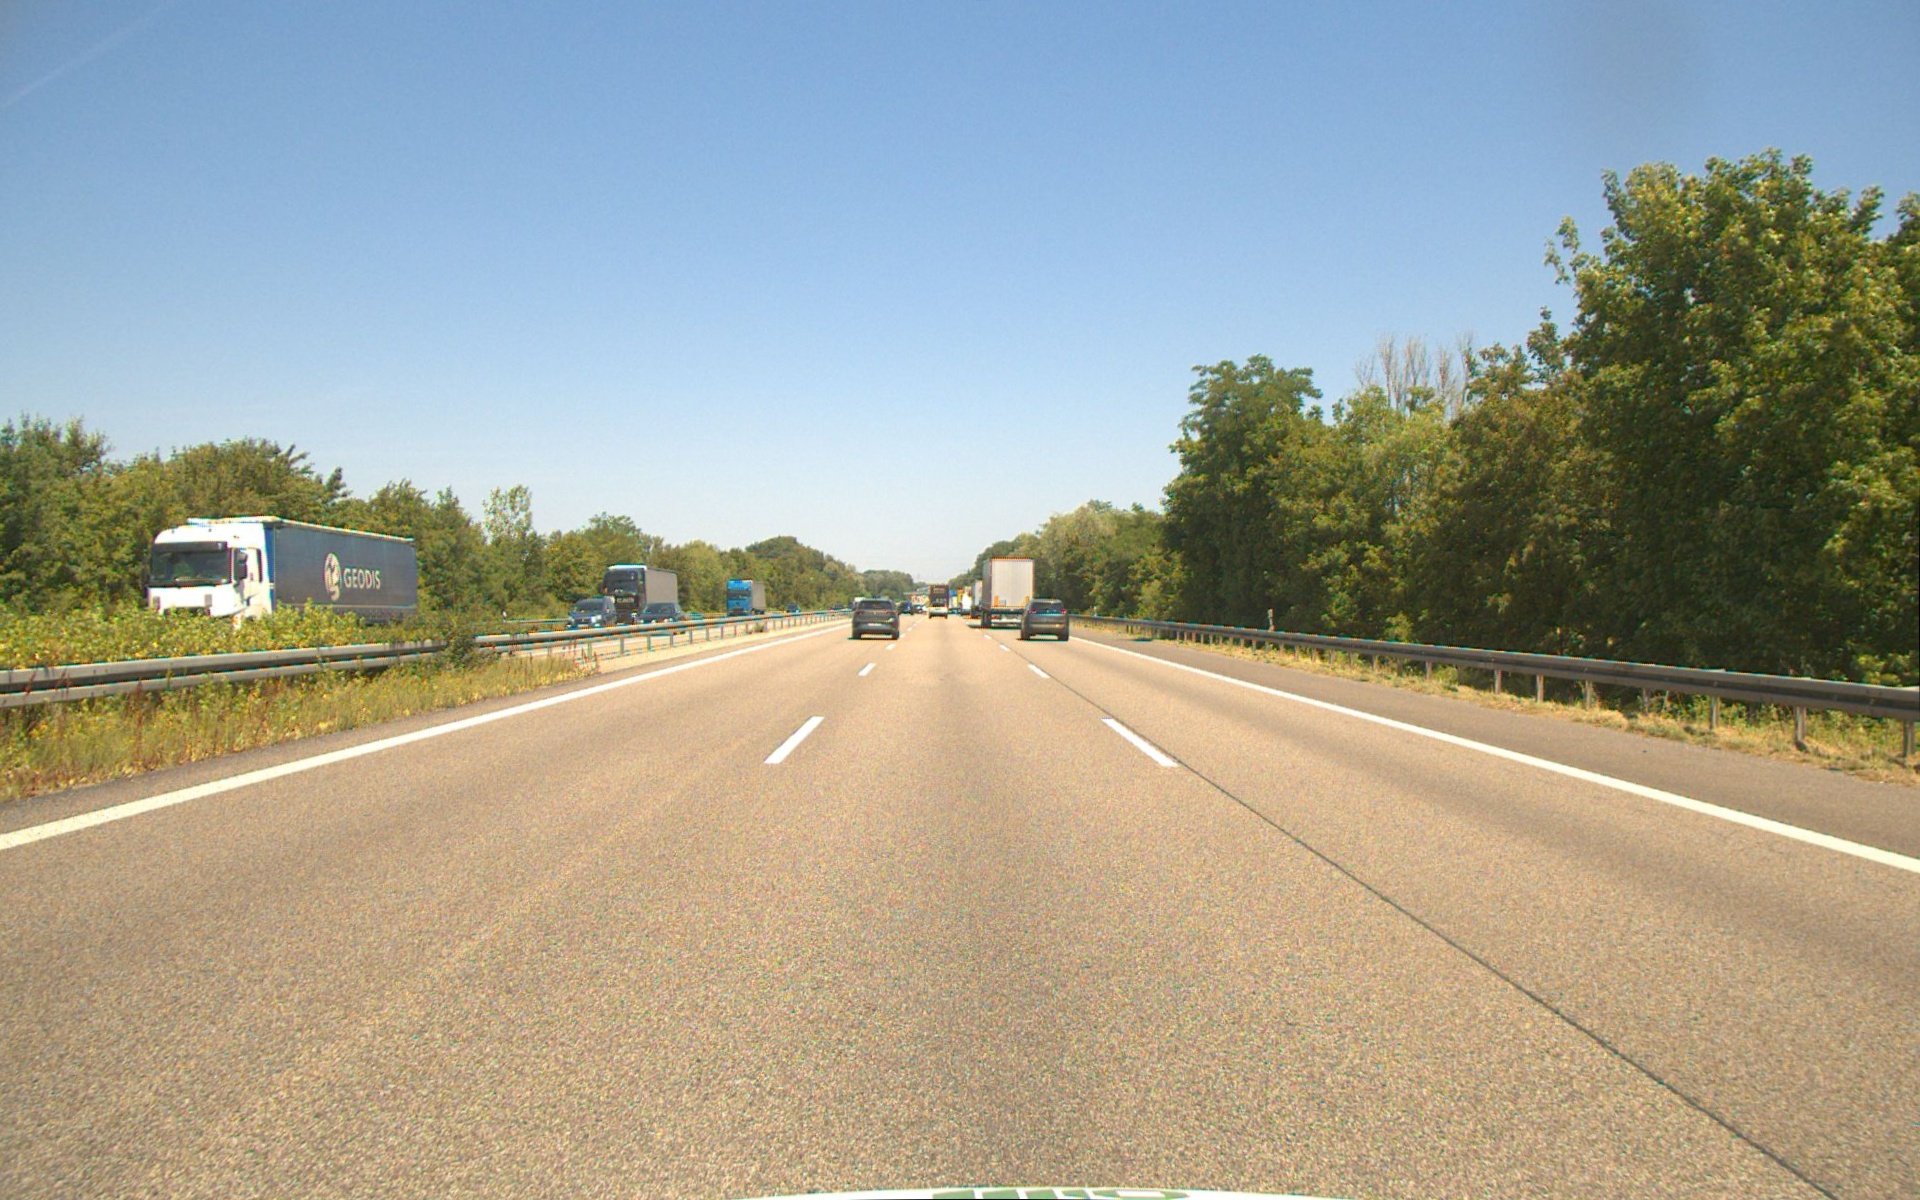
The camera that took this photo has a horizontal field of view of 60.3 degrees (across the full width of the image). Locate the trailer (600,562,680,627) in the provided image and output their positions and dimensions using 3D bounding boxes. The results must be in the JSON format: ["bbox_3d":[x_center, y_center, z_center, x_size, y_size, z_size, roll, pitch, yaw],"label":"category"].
[{"bbox_3d":[-22.351,-0.413,116.317,3.281,4.259,13.538,-1,0,-1],"label":"trailer"}]

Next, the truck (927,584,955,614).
[{"bbox_3d":[-2.542,-0.160,223.375,3.592,3.791,7.108,1,0,0],"label":"truck"}]

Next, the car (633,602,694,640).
[{"bbox_3d":[-13.006,0.910,72.852,1.715,1.509,4.726,-4,0,0],"label":"car"}]

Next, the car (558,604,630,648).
[{"bbox_3d":[-17.805,1.232,80.655,2.182,2.023,5.357,1,0,1],"label":"car"}]

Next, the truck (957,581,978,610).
[{"bbox_3d":[1.093,-0.655,225.126,2.735,3.791,7.108,1,0,0],"label":"truck"}]

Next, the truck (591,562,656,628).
[{"bbox_3d":[-22.253,-0.338,109.616,3.132,4.201,6.193,0,0,-1],"label":"truck"}]

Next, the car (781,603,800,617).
[{"bbox_3d":[-19.481,1.120,190.085,1.812,1.488,4.313,3,-1,-1],"label":"car"}]

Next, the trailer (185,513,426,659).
[{"bbox_3d":[-21.694,-0.375,56.095,2.860,4.260,13.538,-2,0,-1],"label":"trailer"}]

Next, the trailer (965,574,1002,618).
[{"bbox_3d":[2.226,-0.425,160.148,3.059,3.995,9.933,1,0,-2],"label":"trailer"}]

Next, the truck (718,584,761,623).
[{"bbox_3d":[-23.170,0.327,174.069,3.185,4.056,8.728,0,0,1],"label":"truck"}]

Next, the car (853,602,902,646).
[{"bbox_3d":[-3.178,0.899,64.294,1.723,1.557,4.285,1,0,-1],"label":"car"}]

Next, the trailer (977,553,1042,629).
[{"bbox_3d":[2.888,-0.458,100.474,3.364,4.254,13.630,1,-1,0],"label":"trailer"}]

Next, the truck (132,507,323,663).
[{"bbox_3d":[-21.516,-0.398,49.003,2.857,4.202,6.192,-2,0,-1],"label":"truck"}]

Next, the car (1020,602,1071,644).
[{"bbox_3d":[3.435,0.895,67.038,1.807,1.657,4.134,0,0,0],"label":"car"}]

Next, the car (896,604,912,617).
[{"bbox_3d":[-6.955,1.330,206.028,1.869,1.557,4.285,1,0,-1],"label":"car"}]

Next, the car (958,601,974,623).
[{"bbox_3d":[0.710,1.426,198.967,1.869,2.467,4.285,1,0,-1],"label":"car"}]

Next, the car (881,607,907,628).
[{"bbox_3d":[-5.252,1.353,132.204,1.862,1.557,4.083,1,0,-1],"label":"car"}]

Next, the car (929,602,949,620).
[{"bbox_3d":[-1.975,1.047,156.119,1.862,1.557,4.083,1,0,-1],"label":"car"}]
